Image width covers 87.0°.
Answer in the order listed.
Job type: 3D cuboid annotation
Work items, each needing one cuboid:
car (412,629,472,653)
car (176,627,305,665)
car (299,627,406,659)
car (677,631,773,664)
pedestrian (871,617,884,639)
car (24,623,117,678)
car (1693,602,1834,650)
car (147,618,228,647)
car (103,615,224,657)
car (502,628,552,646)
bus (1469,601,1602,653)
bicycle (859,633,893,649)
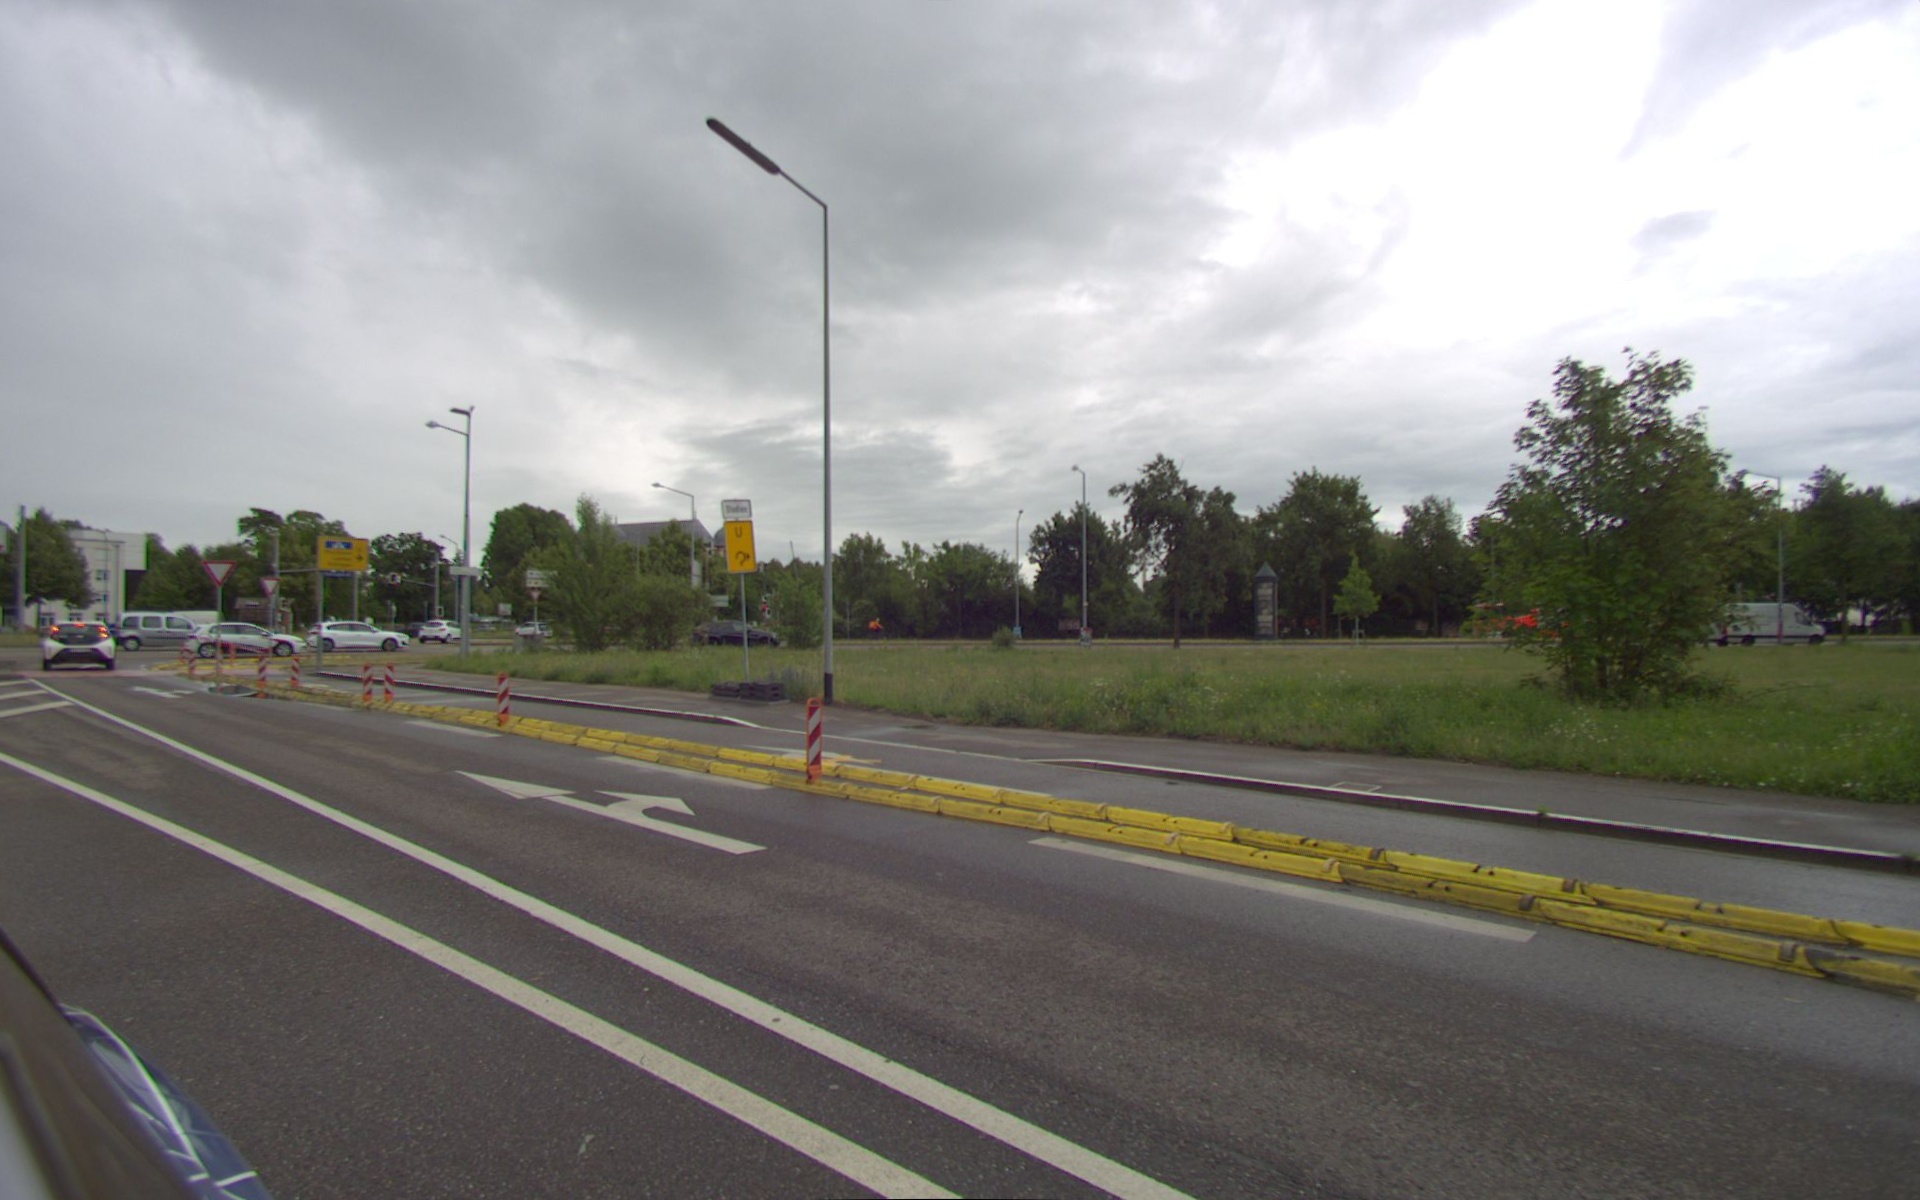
[{"bbox_3d":[-32.901,2.586,64.429,1.892,1.466,4.481,0,-1,-5],"label":"car"},{"bbox_3d":[-30.494,1.906,42.937,4.361,1.468,1.836,1,-2,-38],"label":"car"},{"bbox_3d":[-29.802,2.095,49.663,4.401,1.468,1.926,0,-2,-34],"label":"car"},{"bbox_3d":[-12.563,2.516,54.175,4.670,1.680,1.927,0,-1,-30],"label":"car"},{"bbox_3d":[-6.622,2.241,81.215,0.962,1.784,0.747,-1,-2,7],"label":"pedestrian"},{"bbox_3d":[-27.759,1.573,31.542,3.901,1.599,1.731,-2,-4,43],"label":"car"},{"bbox_3d":[47.596,1.570,60.043,6.477,2.725,2.399,-1,-2,-3],"label":"car"},{"bbox_3d":[-71.232,2.993,93.392,5.512,2.561,2.248,0,-2,-23],"label":"car"},{"bbox_3d":[-37.807,1.666,48.122,4.414,1.918,1.925,1,-2,-39],"label":"car"},{"bbox_3d":[-38.334,3.255,89.602,3.976,1.567,1.883,-1,-2,24],"label":"car"},{"bbox_3d":[41.877,1.967,73.763,8.268,3.676,2.738,0,-2,-6],"label":"bus"},{"bbox_3d":[-6.745,3.295,81.176,2.658,1.231,0.756,-1,-2,8],"label":"bicycle"}]
